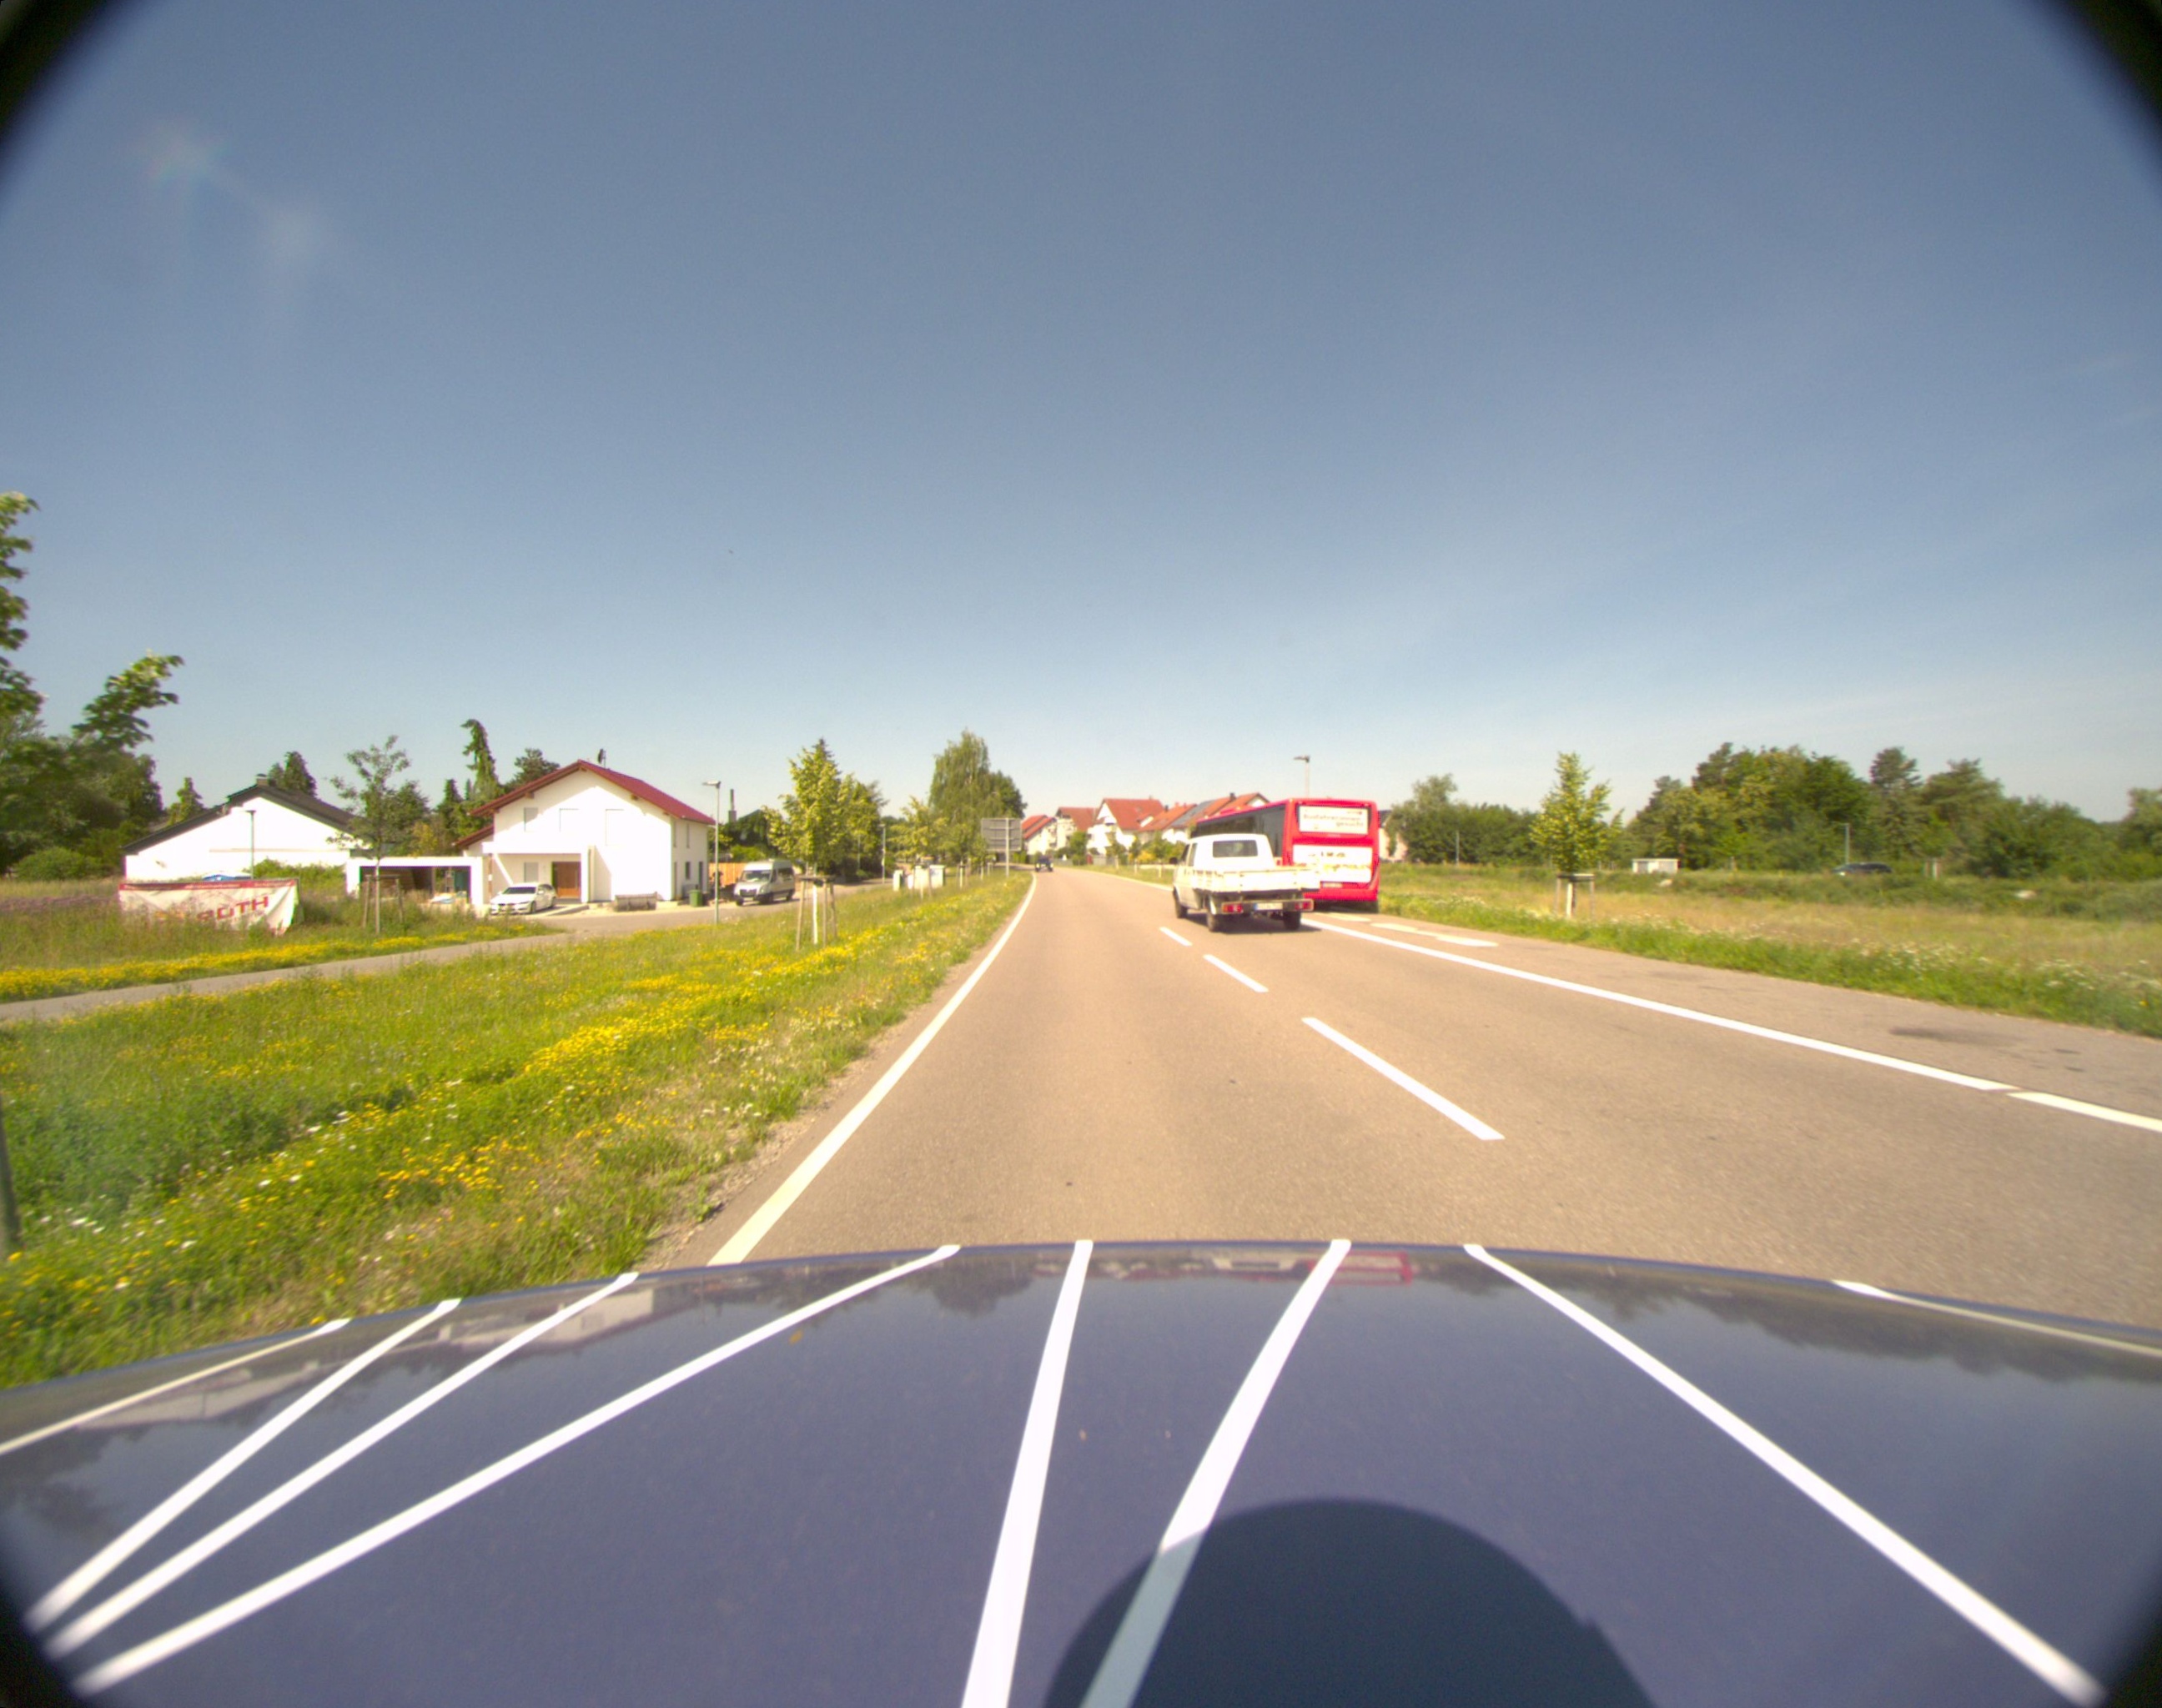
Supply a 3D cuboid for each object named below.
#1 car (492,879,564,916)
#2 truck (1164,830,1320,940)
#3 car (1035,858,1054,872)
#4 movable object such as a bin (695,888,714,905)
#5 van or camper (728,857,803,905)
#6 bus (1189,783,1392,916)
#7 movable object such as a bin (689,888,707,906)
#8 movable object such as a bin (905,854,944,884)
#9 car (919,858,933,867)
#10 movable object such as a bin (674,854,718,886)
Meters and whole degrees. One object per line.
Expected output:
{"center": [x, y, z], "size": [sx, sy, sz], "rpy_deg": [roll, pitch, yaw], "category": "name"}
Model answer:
{"center": [-28.308, 2.167, 39.039], "size": [1.565, 1.549, 4.480], "rpy_deg": [-3, 1, -17], "category": "car"}
{"center": [3.253, 0.572, 16.702], "size": [1.957, 1.973, 5.642], "rpy_deg": [-1, 0, -3], "category": "truck"}
{"center": [-4.226, 1.244, 87.236], "size": [1.934, 1.552, 3.998], "rpy_deg": [1, 0, -6], "category": "car"}
{"center": [-21.644, 2.424, 43.690], "size": [0.694, 0.932, 0.638], "rpy_deg": [-1, 0, 2], "category": "movable object such as a bin"}
{"center": [-19.051, 1.536, 46.250], "size": [2.178, 2.586, 6.028], "rpy_deg": [-1, 1, -2], "category": "van or camper"}
{"center": [6.180, -0.075, 25.329], "size": [2.802, 3.267, 12.226], "rpy_deg": [2, 0, -3], "category": "bus"}
{"center": [-21.663, 2.432, 42.997], "size": [0.694, 0.932, 0.638], "rpy_deg": [-1, 0, 2], "category": "movable object such as a bin"}
{"center": [-14.221, 1.319, 69.428], "size": [2.322, 2.449, 6.943], "rpy_deg": [-1, 1, -3], "category": "movable object such as a bin"}
{"center": [-25.759, 1.430, 126.139], "size": [1.864, 1.437, 4.165], "rpy_deg": [-2, 1, -6], "category": "car"}
{"center": [-31.363, 1.295, 61.858], "size": [2.884, 2.542, 1.782], "rpy_deg": [-1, 0, -36], "category": "movable object such as a bin"}
